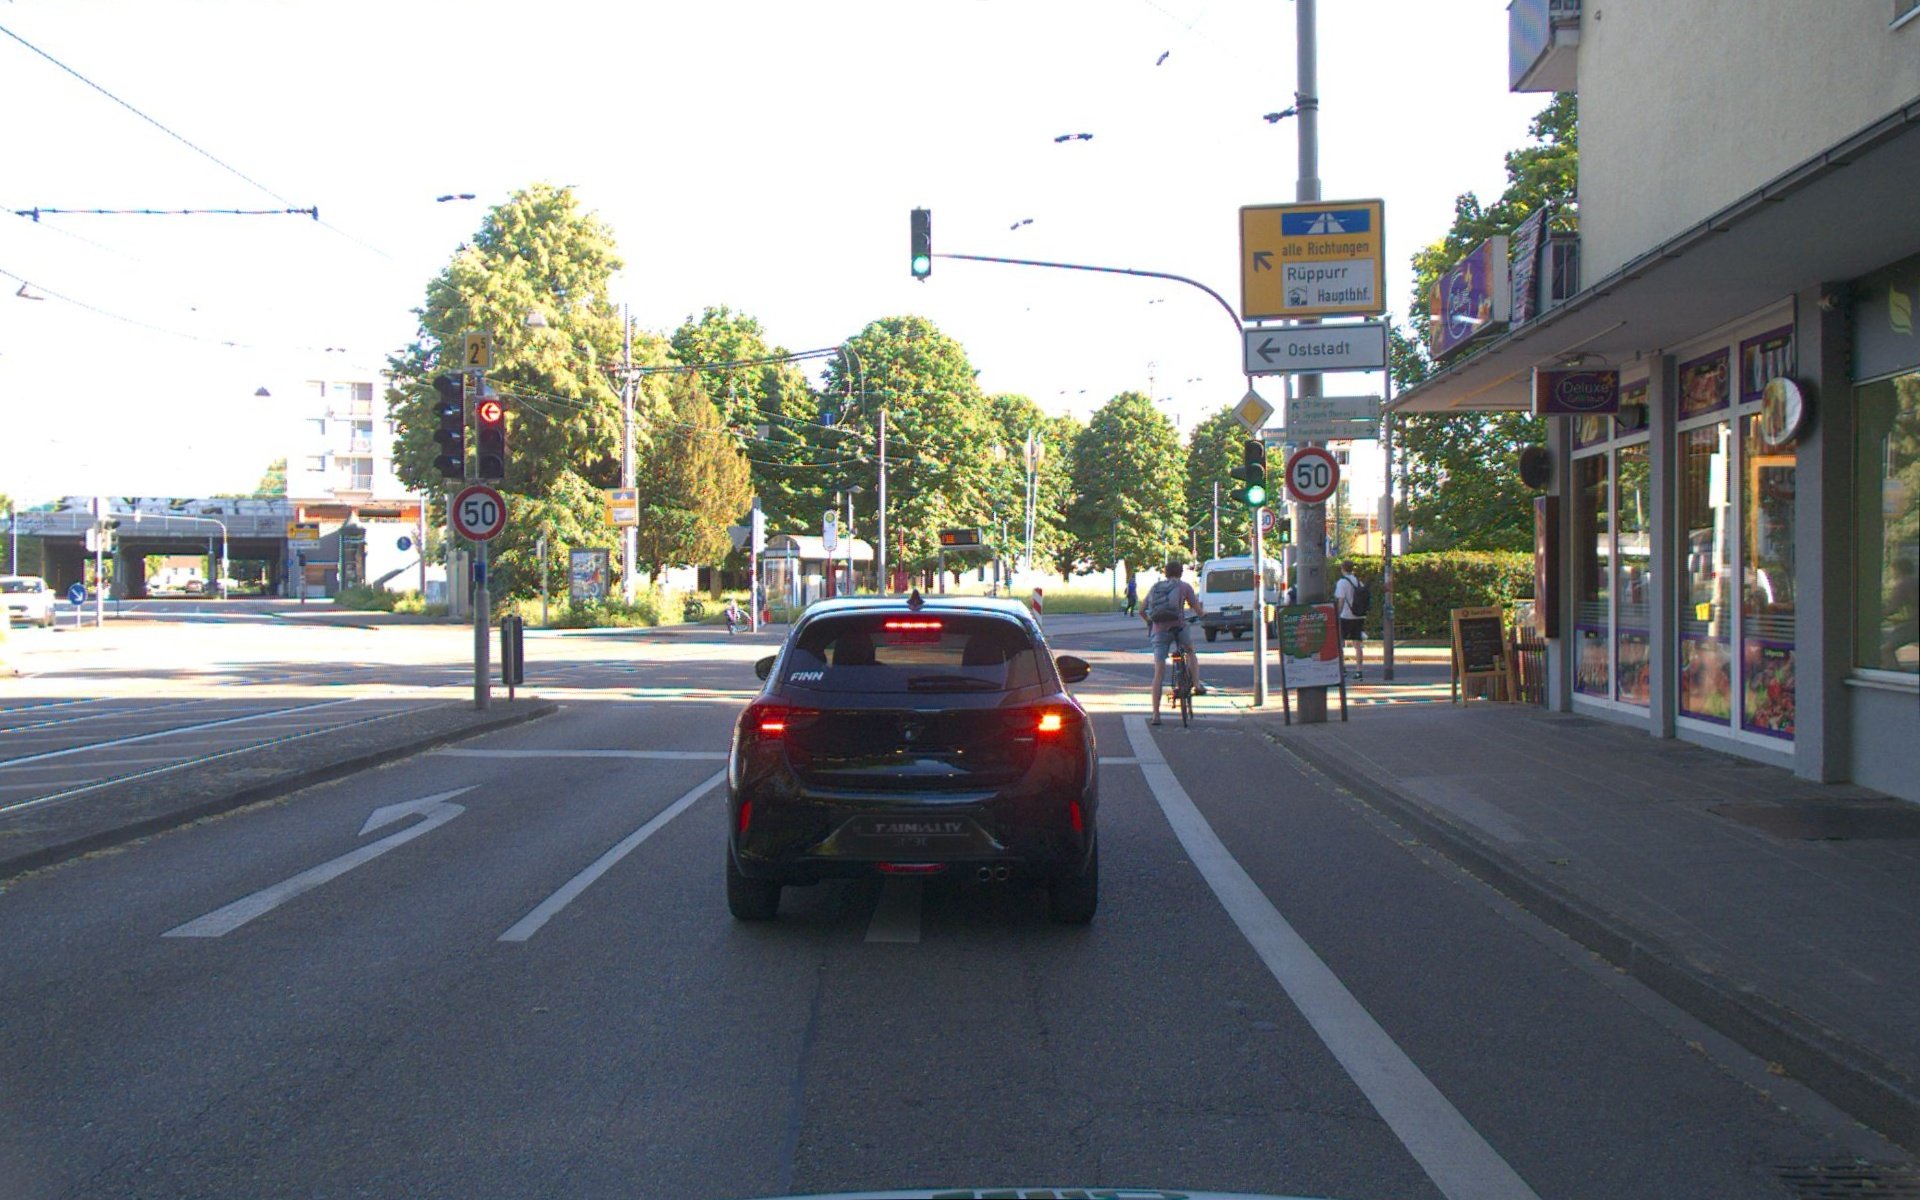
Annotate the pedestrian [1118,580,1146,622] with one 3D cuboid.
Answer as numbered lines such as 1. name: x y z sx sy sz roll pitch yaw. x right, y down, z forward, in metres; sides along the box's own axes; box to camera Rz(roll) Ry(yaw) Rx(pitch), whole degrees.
1. pedestrian: 7.519 0.025 72.369 0.939 1.824 0.995 0 0 25

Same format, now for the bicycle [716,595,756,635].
1. bicycle: -6.289 0.416 46.540 0.808 1.078 1.883 0 1 2

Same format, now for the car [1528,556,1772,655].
1. car: 13.538 0.141 32.647 4.087 1.846 1.807 0 -2 8

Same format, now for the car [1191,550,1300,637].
1. car: 8.024 -0.160 46.158 2.047 2.317 4.304 1 0 23

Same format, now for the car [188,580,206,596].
1. car: -96.787 -1.504 209.750 1.970 2.049 3.965 1 0 -27

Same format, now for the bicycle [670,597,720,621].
1. bicycle: -10.506 0.344 65.538 1.837 0.922 0.660 0 0 6

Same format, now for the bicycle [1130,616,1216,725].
1. bicycle: 2.314 0.739 18.172 0.653 1.078 2.082 0 1 -1

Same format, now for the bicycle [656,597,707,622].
1. bicycle: -10.719 0.366 63.679 1.837 0.922 0.660 0 0 6

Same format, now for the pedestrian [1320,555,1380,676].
1. pedestrian: 6.194 0.236 26.269 0.691 1.878 0.697 0 0 39

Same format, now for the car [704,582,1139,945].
1. car: -0.132 0.645 8.707 1.763 1.466 3.940 0 1 1

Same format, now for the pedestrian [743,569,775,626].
1. pedestrian: -6.169 -0.084 50.794 0.713 1.722 0.698 0 0 35

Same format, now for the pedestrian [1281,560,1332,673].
1. pedestrian: 5.659 0.258 27.024 0.684 1.823 0.617 0 0 -1

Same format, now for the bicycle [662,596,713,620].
1. bicycle: -10.639 0.329 64.665 1.837 0.922 0.660 0 0 6

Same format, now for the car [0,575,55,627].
1. car: -31.080 0.003 54.582 1.970 1.660 4.589 -1 1 -27

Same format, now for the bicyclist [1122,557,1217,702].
1. bicyclist: 2.286 0.305 18.200 0.823 1.536 1.368 0 0 -3
